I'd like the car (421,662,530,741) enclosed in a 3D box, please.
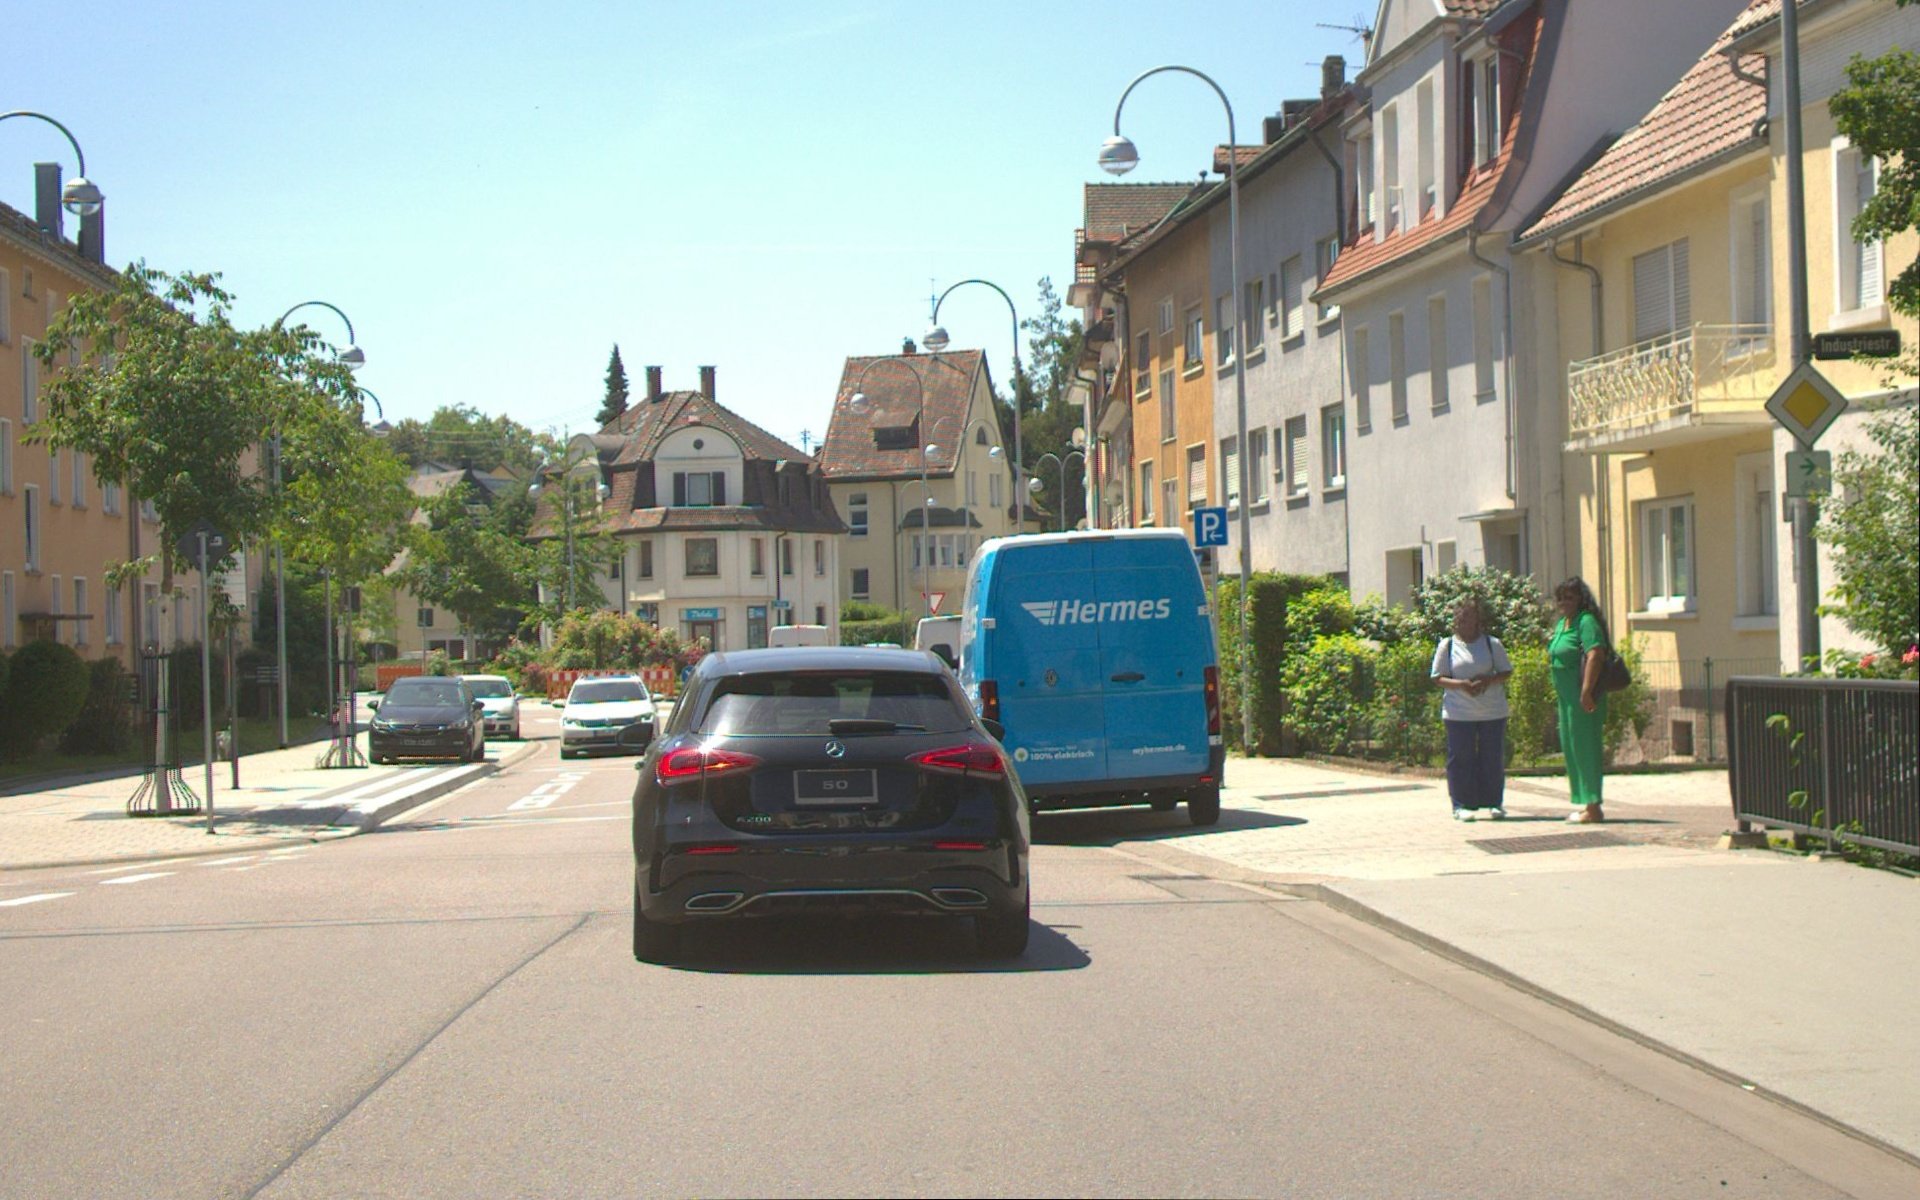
[{"bbox_3d":[-10.821,2.252,77.053,1.993,1.654,4.000,1,-1,-2],"label":"car"}]

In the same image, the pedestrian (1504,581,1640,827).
[{"bbox_3d":[4.401,0.742,24.763,0.660,1.735,0.702,-1,-1,-20],"label":"pedestrian"}]

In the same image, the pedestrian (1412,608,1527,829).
[{"bbox_3d":[3.813,0.878,25.760,0.613,1.607,0.838,-1,-1,-7],"label":"pedestrian"}]

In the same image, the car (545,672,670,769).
[{"bbox_3d":[-6.417,2.175,62.909,1.993,1.654,4.000,1,-1,-2],"label":"car"}]

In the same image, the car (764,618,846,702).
[{"bbox_3d":[-4.531,1.747,100.849,2.244,2.335,4.853,-2,-1,-2],"label":"car"}]

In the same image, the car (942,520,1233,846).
[{"bbox_3d":[0.997,0.684,29.578,2.133,2.533,4.649,-1,-1,-2],"label":"car"}]

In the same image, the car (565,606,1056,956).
[{"bbox_3d":[-0.862,0.900,16.743,1.827,1.437,4.000,-2,-4,-10],"label":"car"}]

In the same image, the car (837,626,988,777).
[{"bbox_3d":[-0.722,1.419,49.525,1.993,2.007,4.000,-1,0,-3],"label":"car"}]

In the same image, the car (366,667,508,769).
[{"bbox_3d":[-9.098,2.033,60.112,1.993,1.654,4.000,1,-1,-2],"label":"car"}]

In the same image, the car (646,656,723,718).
[{"bbox_3d":[-7.790,2.449,97.382,1.993,1.654,4.000,1,-1,-2],"label":"car"}]
